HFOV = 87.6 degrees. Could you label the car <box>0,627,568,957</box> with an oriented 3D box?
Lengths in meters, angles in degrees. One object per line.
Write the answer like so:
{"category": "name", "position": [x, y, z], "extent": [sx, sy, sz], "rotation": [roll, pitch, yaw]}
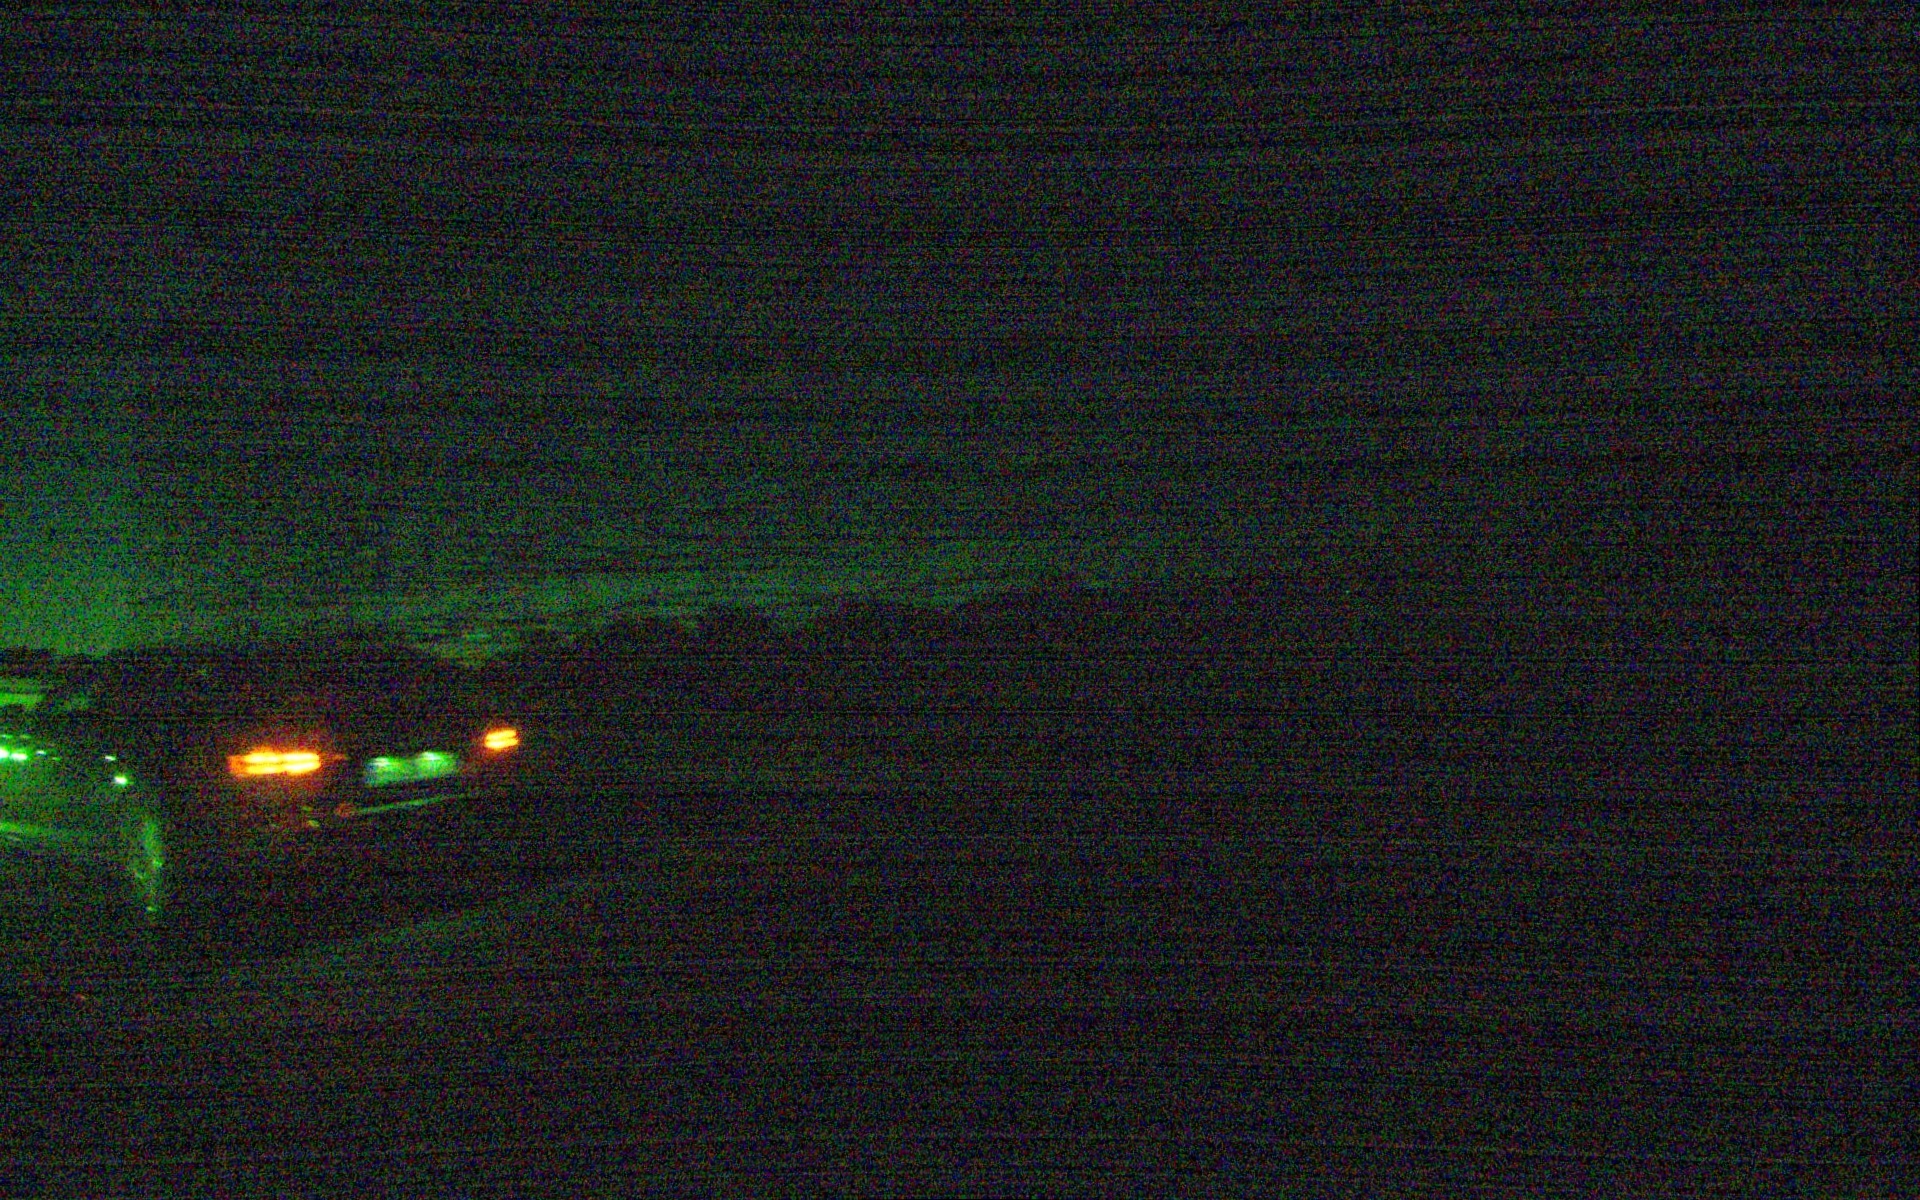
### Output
{"category": "car", "position": [-4.886, 0.931, 6.487], "extent": [4.803, 1.445, 1.805], "rotation": [-1, -1, 31]}
